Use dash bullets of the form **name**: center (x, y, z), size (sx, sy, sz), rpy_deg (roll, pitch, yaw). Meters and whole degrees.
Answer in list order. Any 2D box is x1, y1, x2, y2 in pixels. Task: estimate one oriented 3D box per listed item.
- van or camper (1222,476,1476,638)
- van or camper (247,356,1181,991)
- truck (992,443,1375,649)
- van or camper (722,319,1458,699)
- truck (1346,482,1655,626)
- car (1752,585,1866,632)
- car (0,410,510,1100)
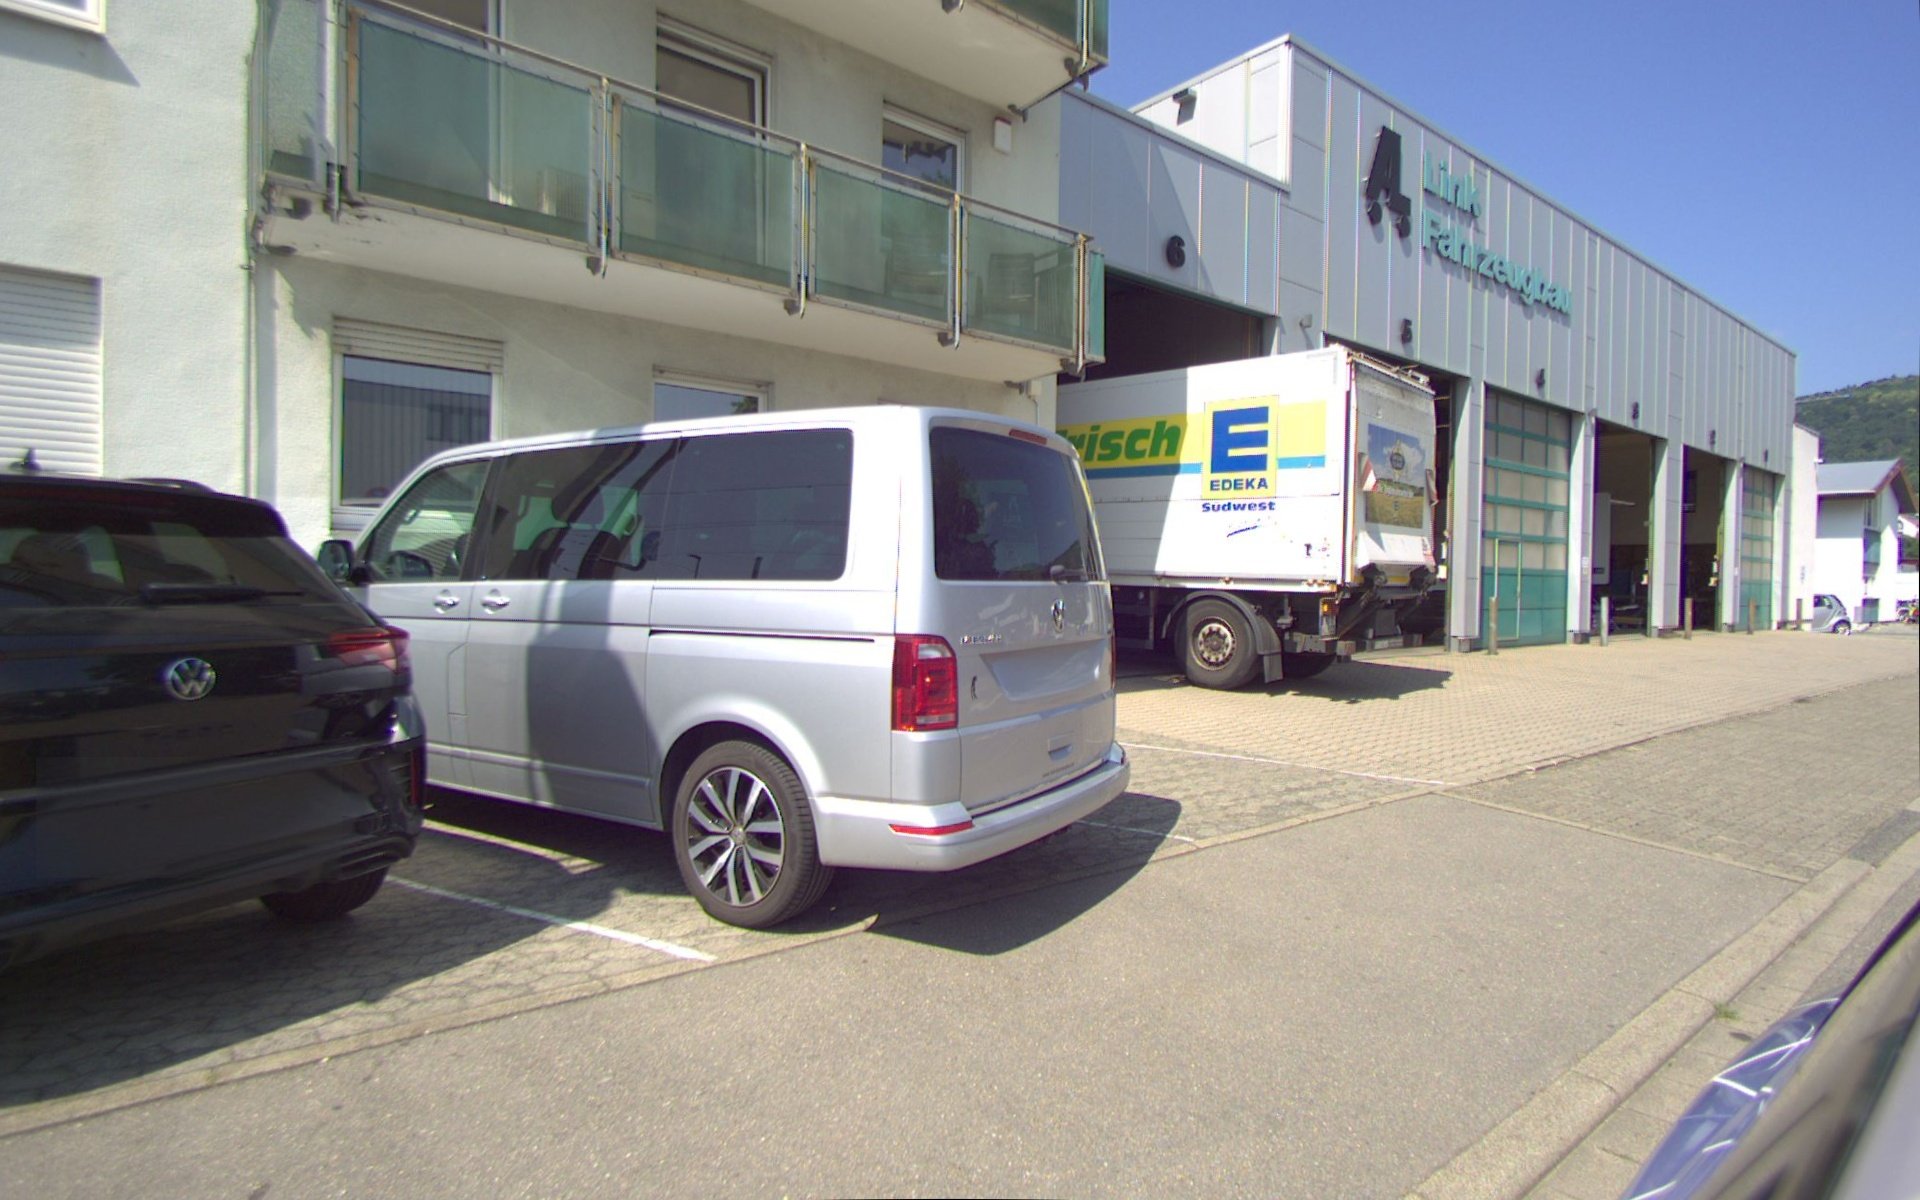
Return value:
- **van or camper**: center (8.651, -0.933, 22.937), size (1.965, 3.245, 5.052), rpy_deg (-1, 2, -40)
- **van or camper**: center (-1.407, 0.128, 5.117), size (4.521, 1.931, 1.978), rpy_deg (3, 2, 32)
- **truck**: center (4.125, -1.059, 20.819), size (2.434, 3.446, 7.974), rpy_deg (0, 2, -37)
- **van or camper**: center (0.791, -1.096, 15.070), size (2.736, 3.738, 11.606), rpy_deg (0, 2, -45)
- **truck**: center (16.047, -1.377, 30.745), size (2.576, 3.828, 7.858), rpy_deg (0, 2, -38)
- **car**: center (29.760, 0.294, 35.517), size (2.773, 1.553, 1.311), rpy_deg (1, 0, 5)
- **car**: center (-3.703, 0.290, 3.533), size (3.935, 1.540, 1.863), rpy_deg (2, 2, 27)
